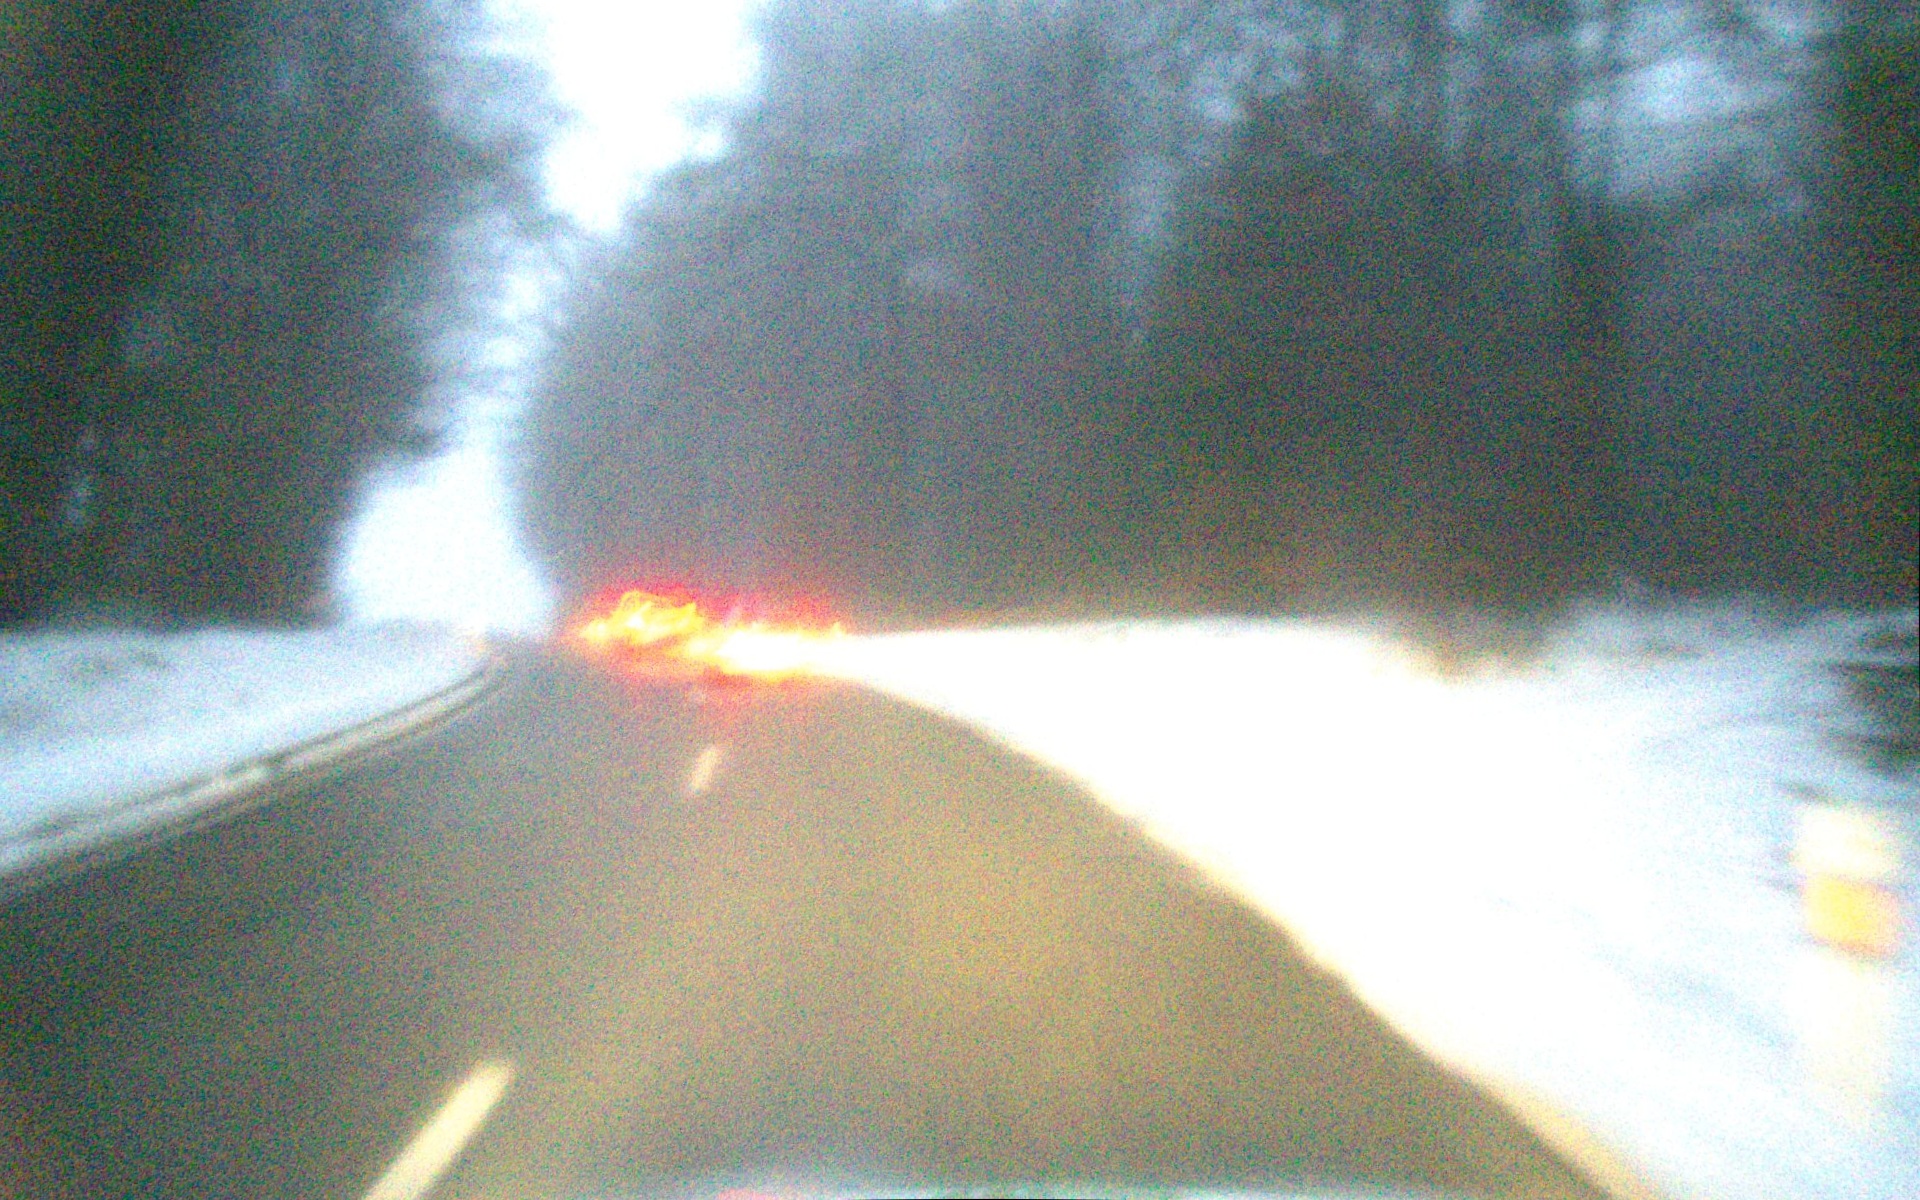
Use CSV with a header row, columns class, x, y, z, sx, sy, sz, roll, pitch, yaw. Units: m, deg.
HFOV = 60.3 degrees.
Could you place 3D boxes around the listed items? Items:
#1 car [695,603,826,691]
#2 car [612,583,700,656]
class,x,y,z,sx,sy,sz,roll,pitch,yaw
car,-3.858,0.879,31.412,1.913,1.405,3.985,6,-3,-14
car,-8.832,0.599,47.776,1.962,1.813,3.982,7,-4,-15
